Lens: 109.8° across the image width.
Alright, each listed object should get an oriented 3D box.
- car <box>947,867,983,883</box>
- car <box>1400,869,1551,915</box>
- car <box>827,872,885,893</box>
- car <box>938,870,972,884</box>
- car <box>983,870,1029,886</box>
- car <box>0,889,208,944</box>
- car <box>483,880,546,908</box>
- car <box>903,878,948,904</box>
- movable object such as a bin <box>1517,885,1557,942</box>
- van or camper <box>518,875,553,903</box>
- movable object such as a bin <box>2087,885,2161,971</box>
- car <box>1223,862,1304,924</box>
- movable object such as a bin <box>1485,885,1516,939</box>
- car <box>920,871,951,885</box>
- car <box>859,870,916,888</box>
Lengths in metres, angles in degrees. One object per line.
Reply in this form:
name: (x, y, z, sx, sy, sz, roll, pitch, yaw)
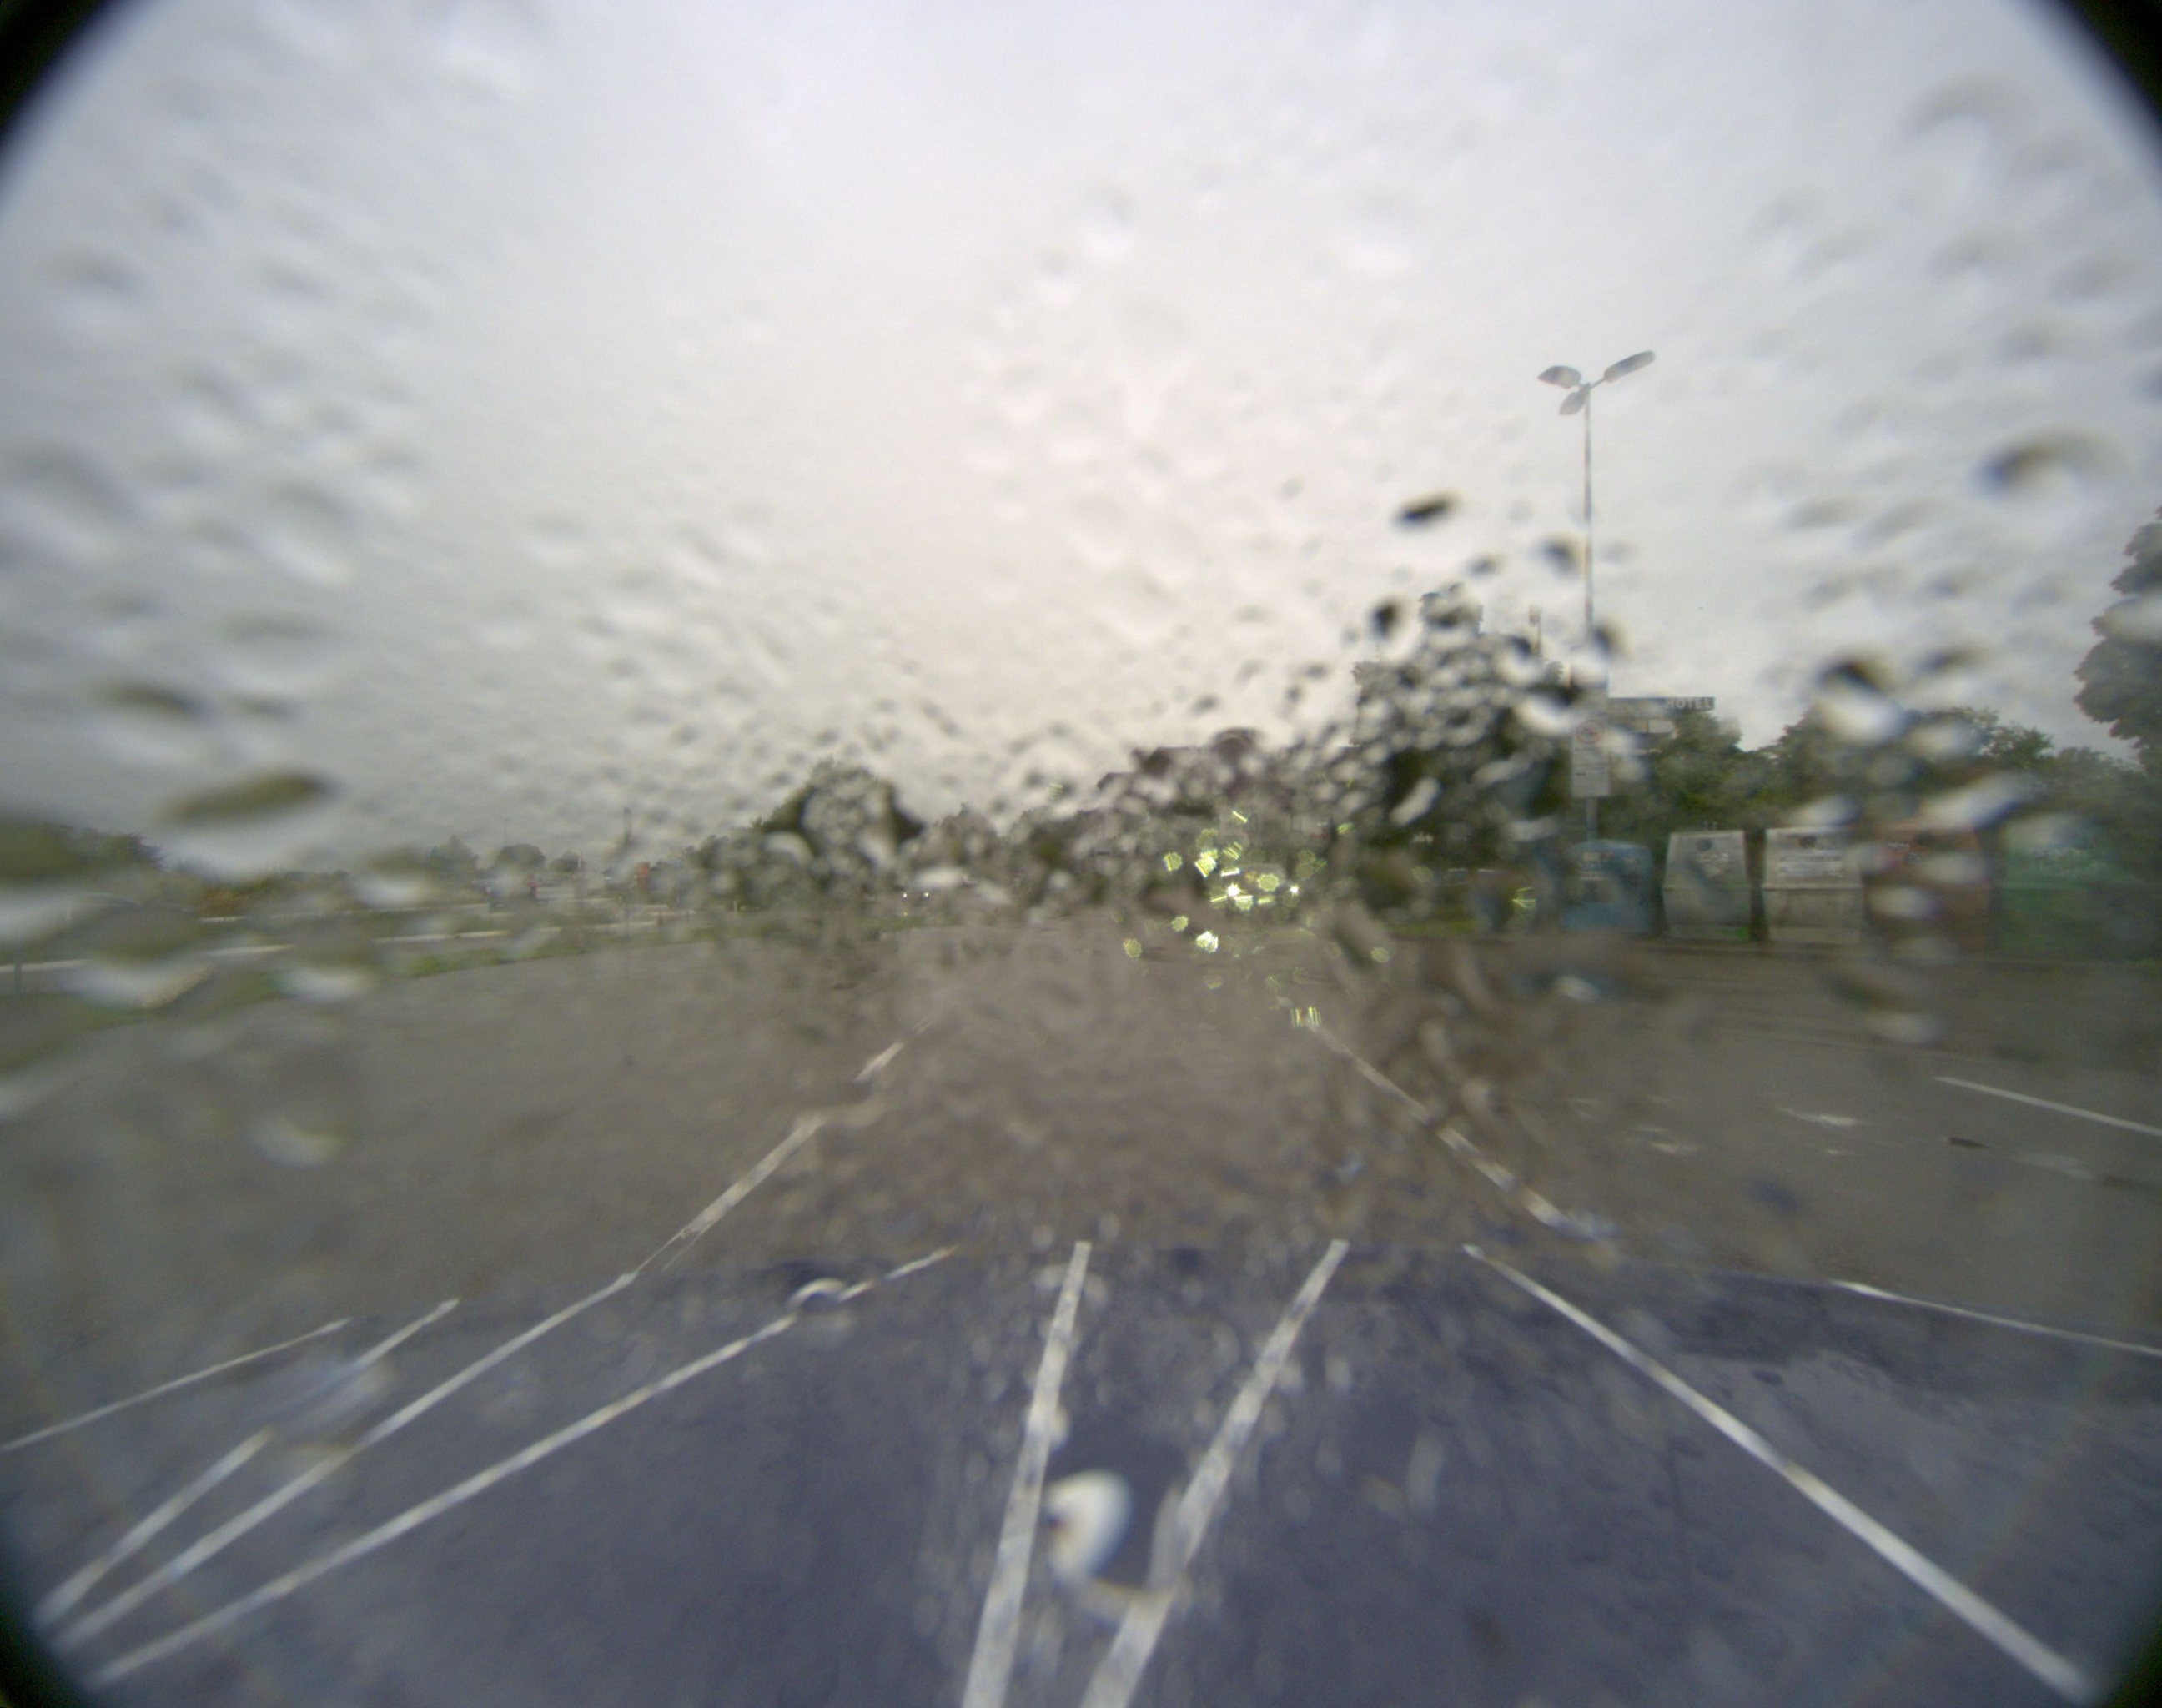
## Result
car: (-14.068, 2.574, 92.177, 3.989, 1.717, 1.994, -3, -1, 37)
car: (13.597, 1.284, 26.445, 1.873, 1.440, 4.319, 0, -2, -32)
car: (-20.116, 2.554, 68.043, 4.606, 1.711, 2.000, -2, -1, -2)
car: (-14.989, 2.749, 90.095, 3.878, 1.560, 1.753, -3, -1, 38)
car: (-7.285, 2.329, 74.463, 4.358, 1.416, 1.850, -1, -1, -3)
car: (-36.970, 2.290, 28.859, 1.887, 1.674, 4.679, 1, 1, 29)
car: (-36.420, 2.517, 48.975, 2.002, 1.593, 4.517, -2, 0, -20)
car: (-9.562, 2.277, 47.029, 1.705, 1.416, 4.361, -2, -1, 1)
movable object such as a bin: (7.936, 1.028, 13.230, 0.405, 0.943, 0.450, -2, 0, 1)
van or camper: (-42.152, 2.644, 58.773, 2.004, 2.001, 4.835, 1, -1, -34)
movable object such as a bin: (11.707, 0.817, 8.542, 0.510, 0.917, 0.437, 0, -2, -39)
car: (5.355, 1.039, 21.856, 1.996, 1.565, 4.506, -2, -1, 16)
movable object such as a bin: (7.576, 1.043, 13.735, 0.434, 0.943, 0.474, -2, 0, 25)
car: (-16.920, 2.811, 88.173, 3.716, 1.539, 1.670, -3, -1, 43)
car: (-19.967, 2.572, 78.481, 5.374, 1.711, 2.000, -2, -1, -2)
